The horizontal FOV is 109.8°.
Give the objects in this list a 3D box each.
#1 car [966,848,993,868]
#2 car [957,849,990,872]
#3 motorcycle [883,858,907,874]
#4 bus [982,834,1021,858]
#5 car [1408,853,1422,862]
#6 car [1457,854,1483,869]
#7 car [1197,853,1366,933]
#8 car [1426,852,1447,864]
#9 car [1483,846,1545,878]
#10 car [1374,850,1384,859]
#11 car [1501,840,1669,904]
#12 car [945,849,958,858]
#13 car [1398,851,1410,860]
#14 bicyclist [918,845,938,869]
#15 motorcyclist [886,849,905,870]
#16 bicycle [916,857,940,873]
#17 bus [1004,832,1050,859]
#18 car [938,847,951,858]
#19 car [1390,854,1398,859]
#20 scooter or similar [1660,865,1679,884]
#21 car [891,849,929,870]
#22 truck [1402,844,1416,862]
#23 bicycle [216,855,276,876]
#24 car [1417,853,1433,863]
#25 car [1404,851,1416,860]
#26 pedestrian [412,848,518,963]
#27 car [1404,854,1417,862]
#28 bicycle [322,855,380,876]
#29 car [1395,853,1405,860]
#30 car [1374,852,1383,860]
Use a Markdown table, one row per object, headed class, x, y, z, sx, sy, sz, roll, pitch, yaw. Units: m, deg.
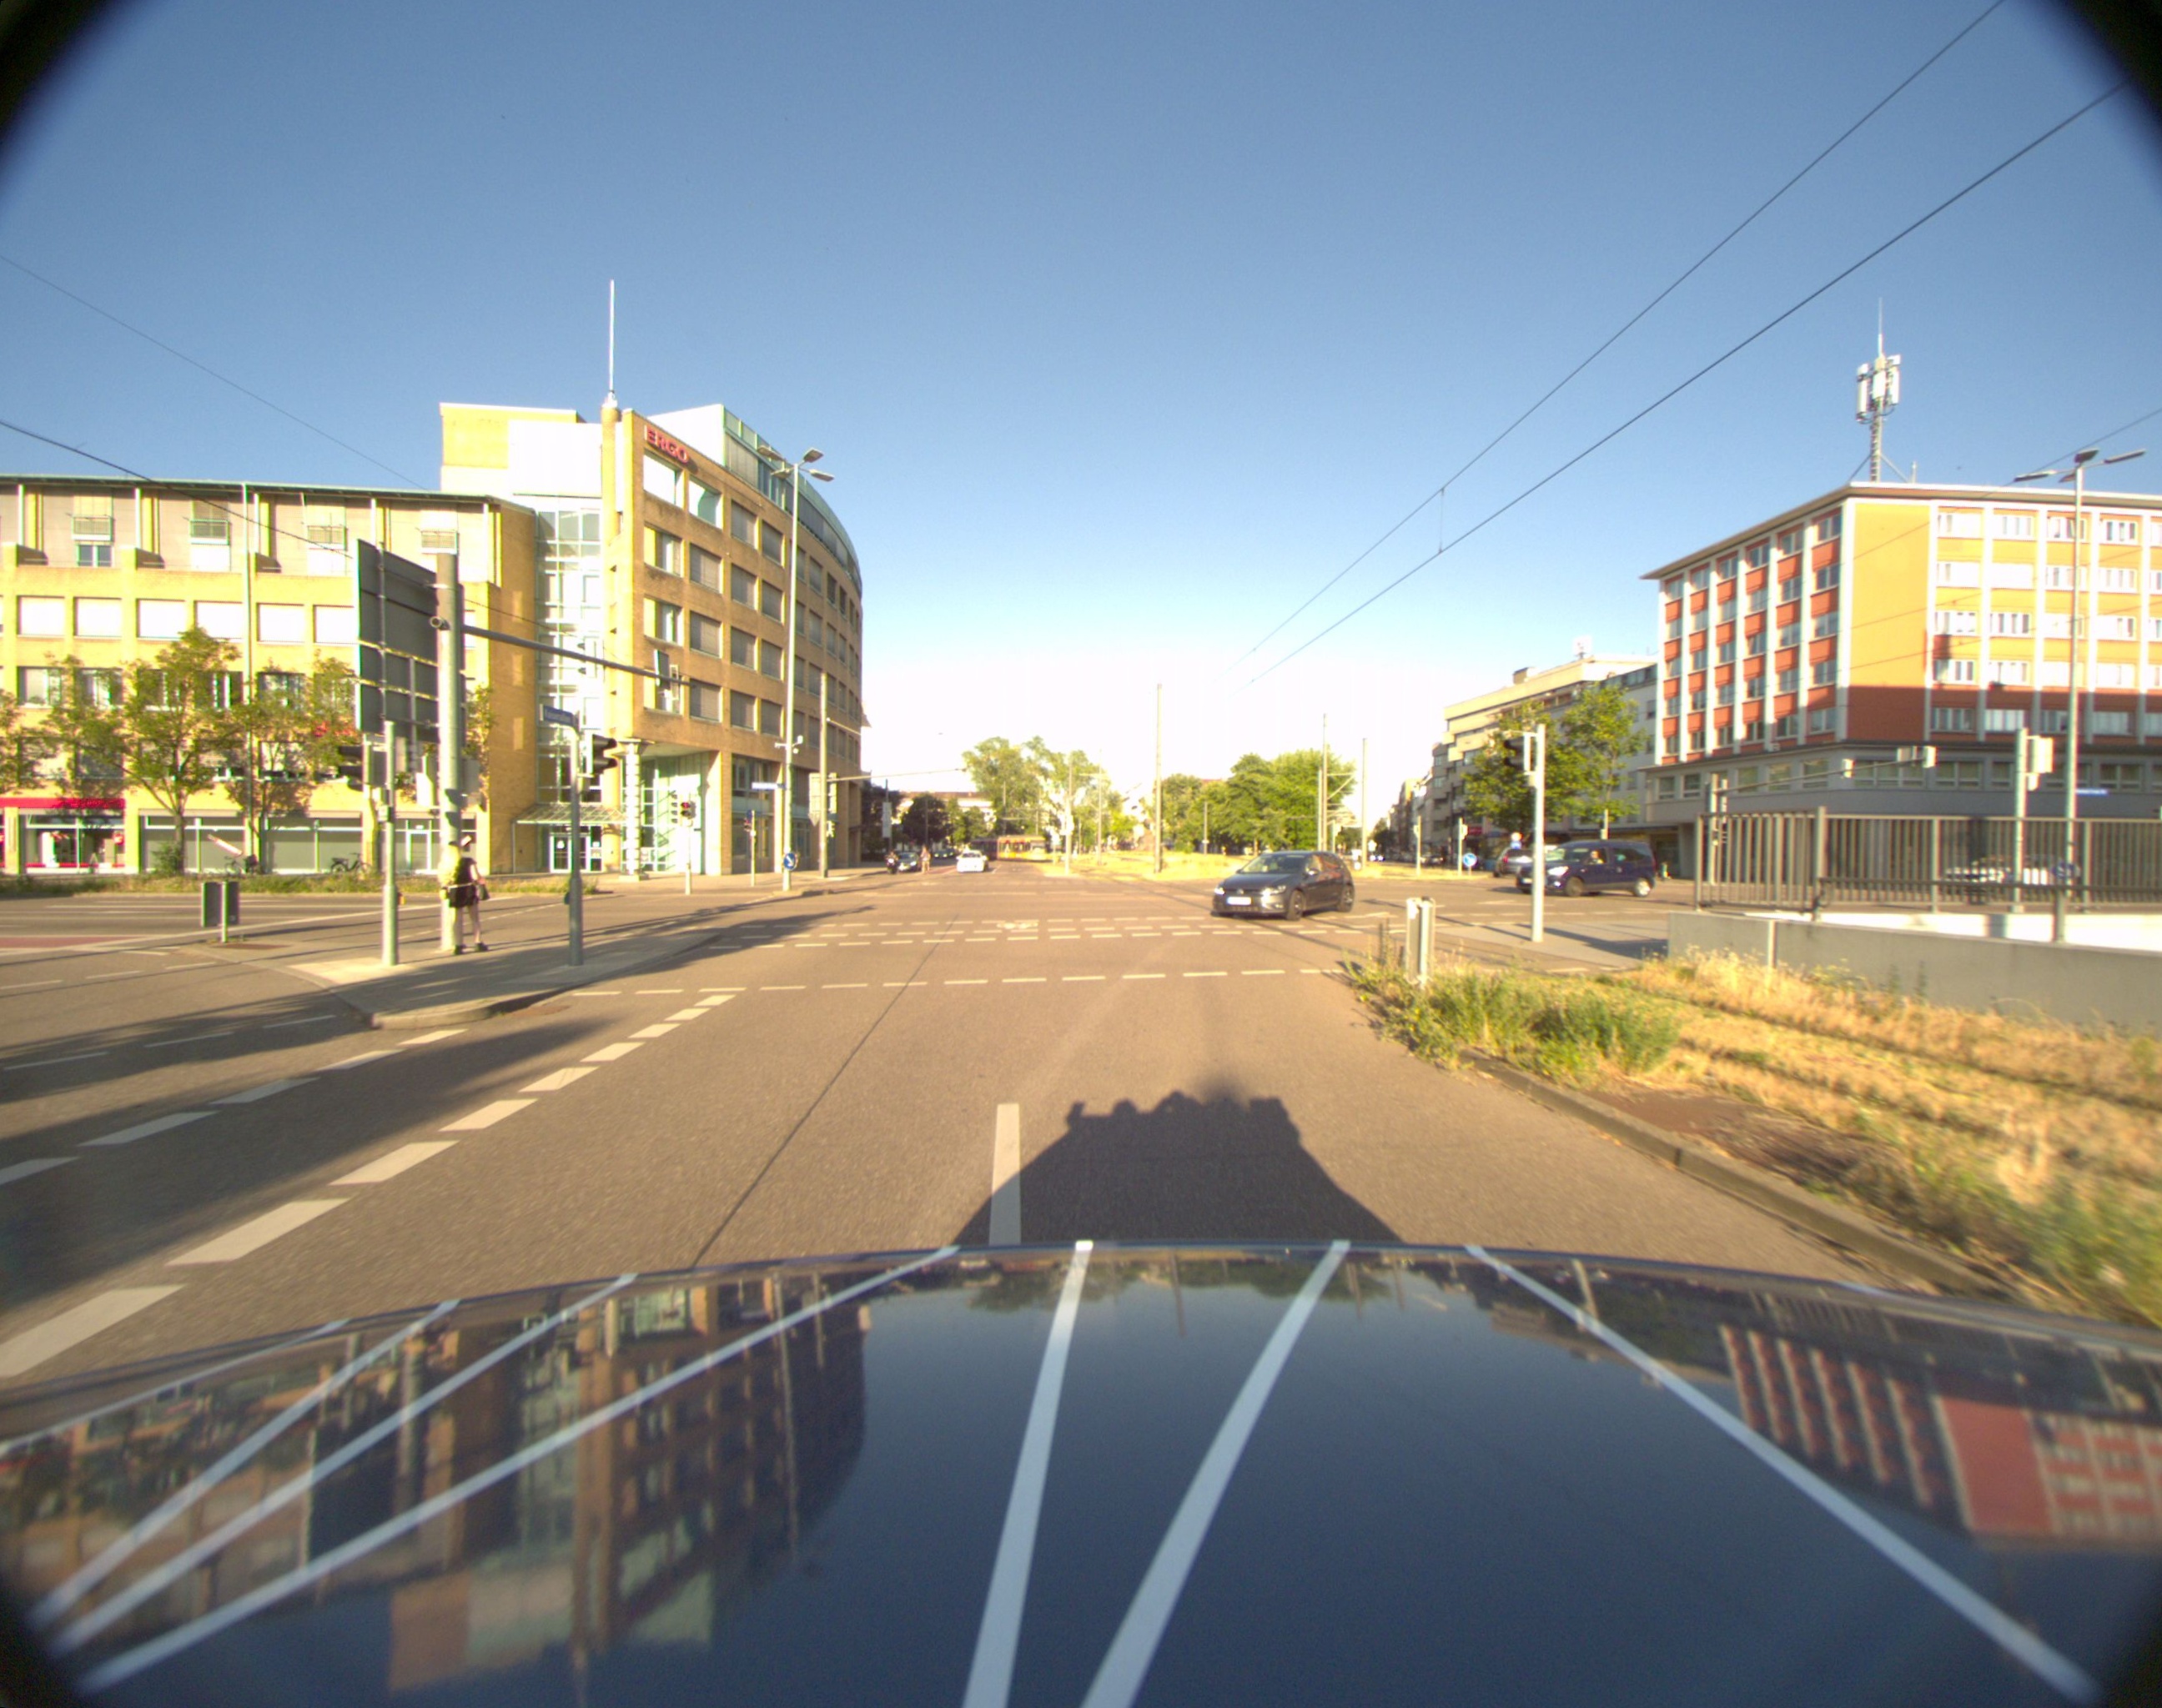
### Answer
| class | x | y | z | sx | sy | sz | roll | pitch | yaw |
| --- | --- | --- | --- | --- | --- | --- | --- | --- | --- |
| car | -7.912 | 0.293 | 59.627 | 1.819 | 1.483 | 4.063 | 0 | 1 | -4 |
| car | -7.391 | 0.406 | 52.574 | 1.994 | 1.483 | 4.174 | 0 | 1 | -5 |
| motorcycle | -12.313 | 0.770 | 50.390 | 1.031 | 0.958 | 2.725 | 0 | 1 | -4 |
| bus | -11.260 | -1.168 | 106.332 | 2.355 | 3.191 | 11.057 | 0 | 1 | -23 |
| car | 53.520 | 0.493 | 121.775 | 1.736 | 1.376 | 3.629 | 1 | 1 | 18 |
| car | 37.911 | 0.733 | 74.062 | 1.637 | 1.419 | 3.641 | 1 | 1 | 18 |
| car | 4.568 | 0.763 | 16.917 | 1.767 | 1.450 | 4.278 | 0 | 1 | 44 |
| car | 45.871 | 0.527 | 98.228 | 1.960 | 1.547 | 3.878 | 1 | 1 | 18 |
| car | 24.939 | 0.391 | 43.933 | 1.996 | 1.714 | 5.036 | 0 | 1 | 16 |
| car | 58.789 | 0.098 | 150.000 | 1.646 | 1.803 | 3.493 | 1 | 1 | 18 |
| car | 15.638 | 0.502 | 23.635 | 4.470 | 1.843 | 1.893 | 0 | 2 | -17 |
| car | -24.124 | -0.097 | 142.098 | 1.844 | 1.807 | 3.999 | 0 | 1 | -2 |
| car | 65.662 | 0.314 | 154.451 | 1.767 | 1.692 | 3.585 | 1 | 1 | 18 |
| bicyclist | -9.941 | 0.198 | 49.416 | 1.154 | 1.562 | 1.226 | 0 | 1 | -5 |
| motorcyclist | -12.313 | 0.363 | 50.397 | 1.031 | 1.427 | 1.068 | 0 | 1 | -4 |
| bicycle | -9.947 | 0.711 | 49.527 | 1.154 | 0.995 | 2.968 | 0 | 1 | -5 |
| bus | -6.937 | -1.079 | 96.151 | 2.413 | 3.191 | 11.095 | 0 | 1 | -23 |
| car | -22.618 | -0.300 | 126.046 | 1.844 | 1.807 | 3.997 | 0 | 1 | -6 |
| car | 76.690 | 0.609 | 186.155 | 1.493 | 1.366 | 3.429 | 1 | 1 | 18 |
| scooter or similar | 40.555 | 1.390 | 52.382 | 0.483 | 1.228 | 1.563 | 1 | 2 | 16 |
| car | -12.685 | 0.379 | 56.736 | 1.985 | 1.528 | 4.495 | 0 | 1 | -2 |
| truck | 61.160 | -0.146 | 141.730 | 1.736 | 3.201 | 6.416 | 1 | 1 | 18 |
| bicycle | -40.061 | 0.530 | 36.470 | 2.080 | 0.989 | 0.648 | 0 | 1 | -4 |
| car | 49.257 | 0.561 | 108.797 | 1.736 | 1.376 | 3.395 | 1 | 1 | 18 |
| car | 64.083 | 0.219 | 148.224 | 1.767 | 1.692 | 3.585 | 1 | 1 | 18 |
| pedestrian | -9.537 | 0.771 | 11.798 | 0.967 | 1.729 | 0.812 | 0 | 1 | -2 |
| car | 58.311 | 0.683 | 134.512 | 1.736 | 1.376 | 3.629 | 1 | 1 | 18 |
| bicycle | -35.331 | 0.557 | 36.774 | 2.080 | 0.989 | 0.648 | 0 | 1 | -4 |
| car | 74.296 | 0.552 | 177.177 | 1.803 | 1.586 | 3.682 | 1 | 1 | 18 |
| car | 67.683 | 0.536 | 173.110 | 1.646 | 1.803 | 3.493 | 1 | 1 | 18 |
